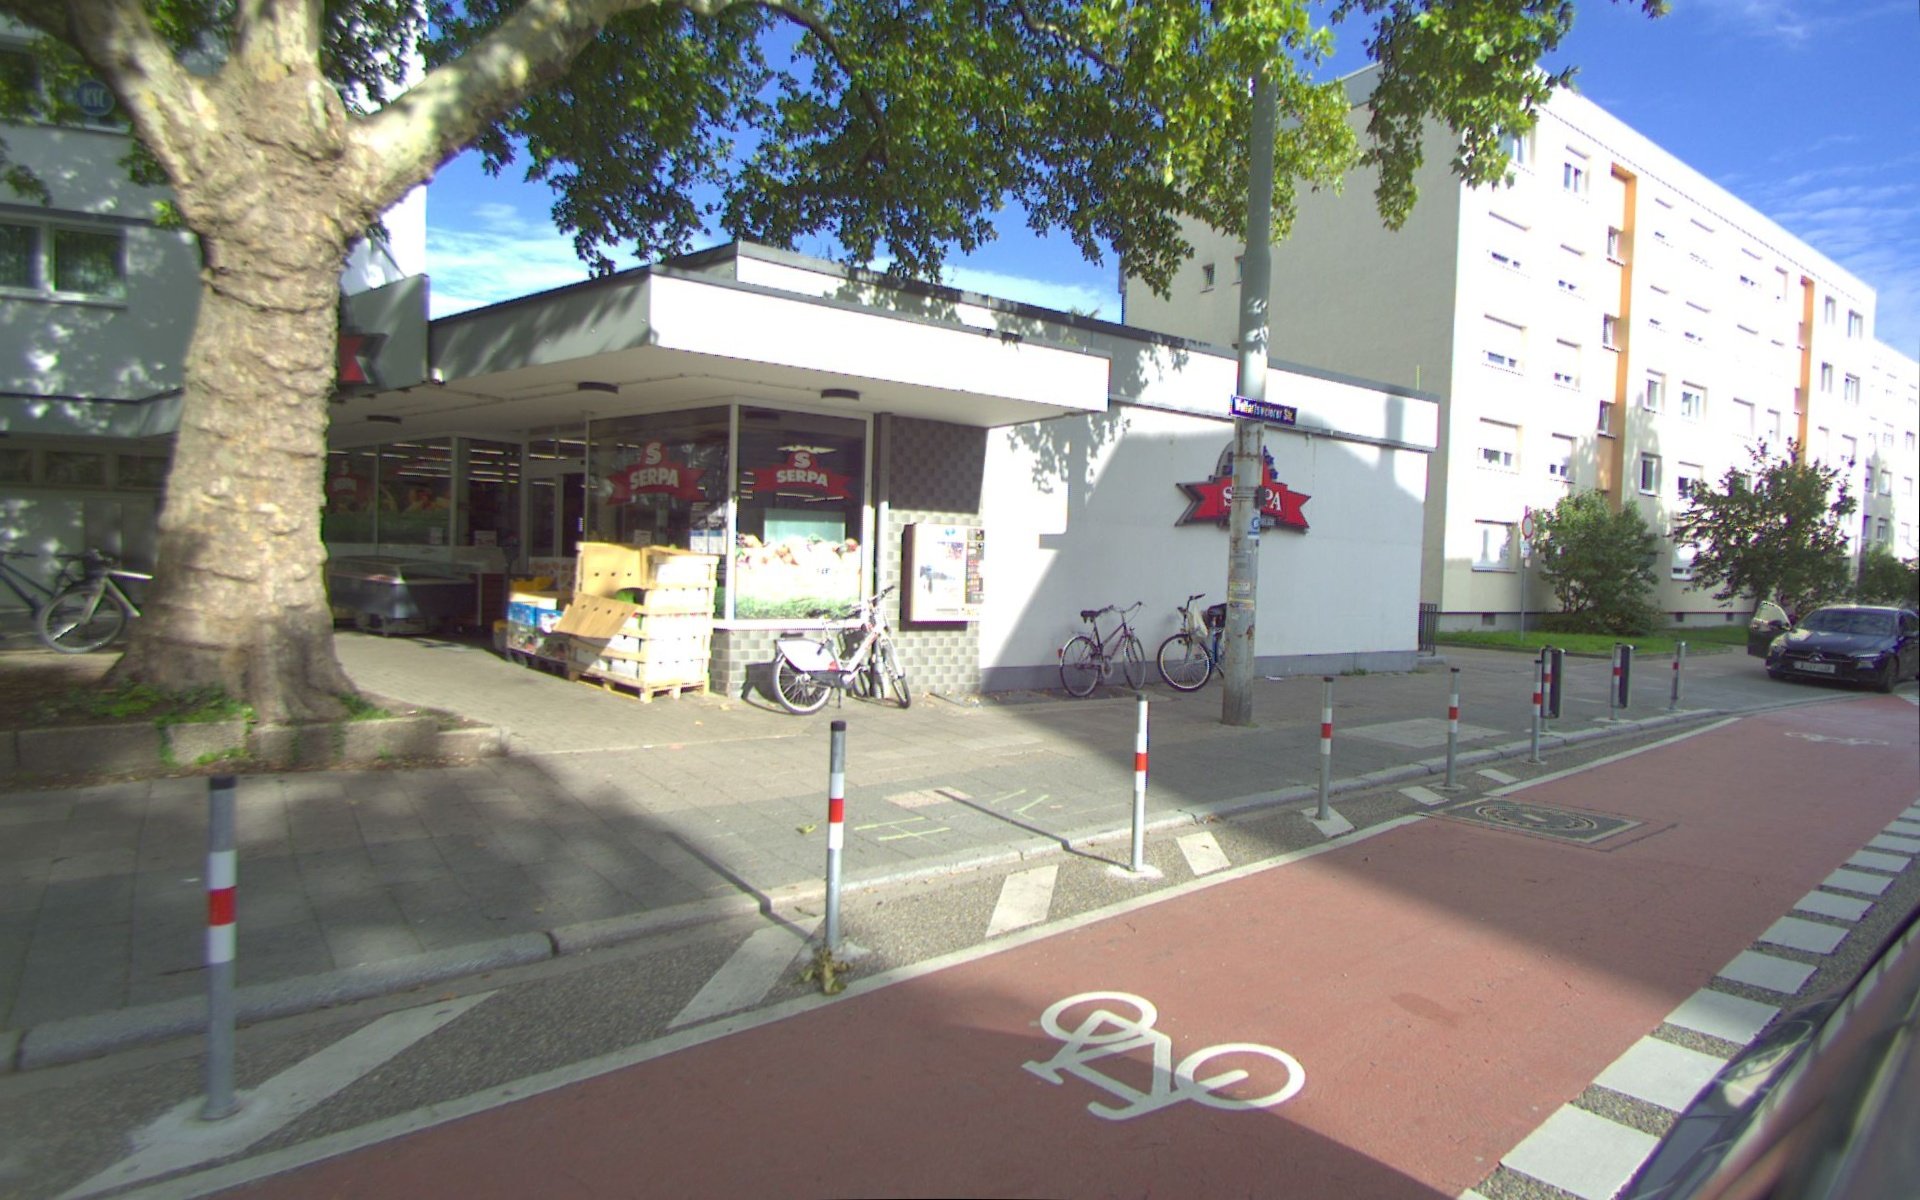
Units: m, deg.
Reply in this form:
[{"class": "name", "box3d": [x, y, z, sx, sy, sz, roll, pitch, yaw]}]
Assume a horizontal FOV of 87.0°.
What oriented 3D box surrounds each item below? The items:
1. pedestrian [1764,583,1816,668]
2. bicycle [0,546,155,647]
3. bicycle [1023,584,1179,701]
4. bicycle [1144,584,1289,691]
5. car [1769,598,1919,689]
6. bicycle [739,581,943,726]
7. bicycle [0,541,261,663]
[{"class": "pedestrian", "box3d": [16.790, 0.498, 20.468, 0.729, 1.666, 0.654, 1, 1, -39]}, {"class": "bicycle", "box3d": [-10.392, -0.055, 11.499, 0.688, 1.084, 1.833, 4, 3, 35]}, {"class": "bicycle", "box3d": [1.661, 0.462, 11.840, 1.737, 1.220, 0.713, 0, 5, -36]}, {"class": "bicycle", "box3d": [3.302, 0.440, 12.973, 1.781, 1.220, 0.772, 0, 5, -36]}, {"class": "car", "box3d": [17.141, 0.754, 19.131, 4.152, 1.429, 1.767, 1, 3, -36]}, {"class": "bicycle", "box3d": [-1.118, 0.460, 9.700, 1.782, 1.220, 0.715, 0, 5, -38]}, {"class": "bicycle", "box3d": [-8.085, 0.049, 9.922, 1.817, 1.053, 0.749, 3, -4, -16]}]
